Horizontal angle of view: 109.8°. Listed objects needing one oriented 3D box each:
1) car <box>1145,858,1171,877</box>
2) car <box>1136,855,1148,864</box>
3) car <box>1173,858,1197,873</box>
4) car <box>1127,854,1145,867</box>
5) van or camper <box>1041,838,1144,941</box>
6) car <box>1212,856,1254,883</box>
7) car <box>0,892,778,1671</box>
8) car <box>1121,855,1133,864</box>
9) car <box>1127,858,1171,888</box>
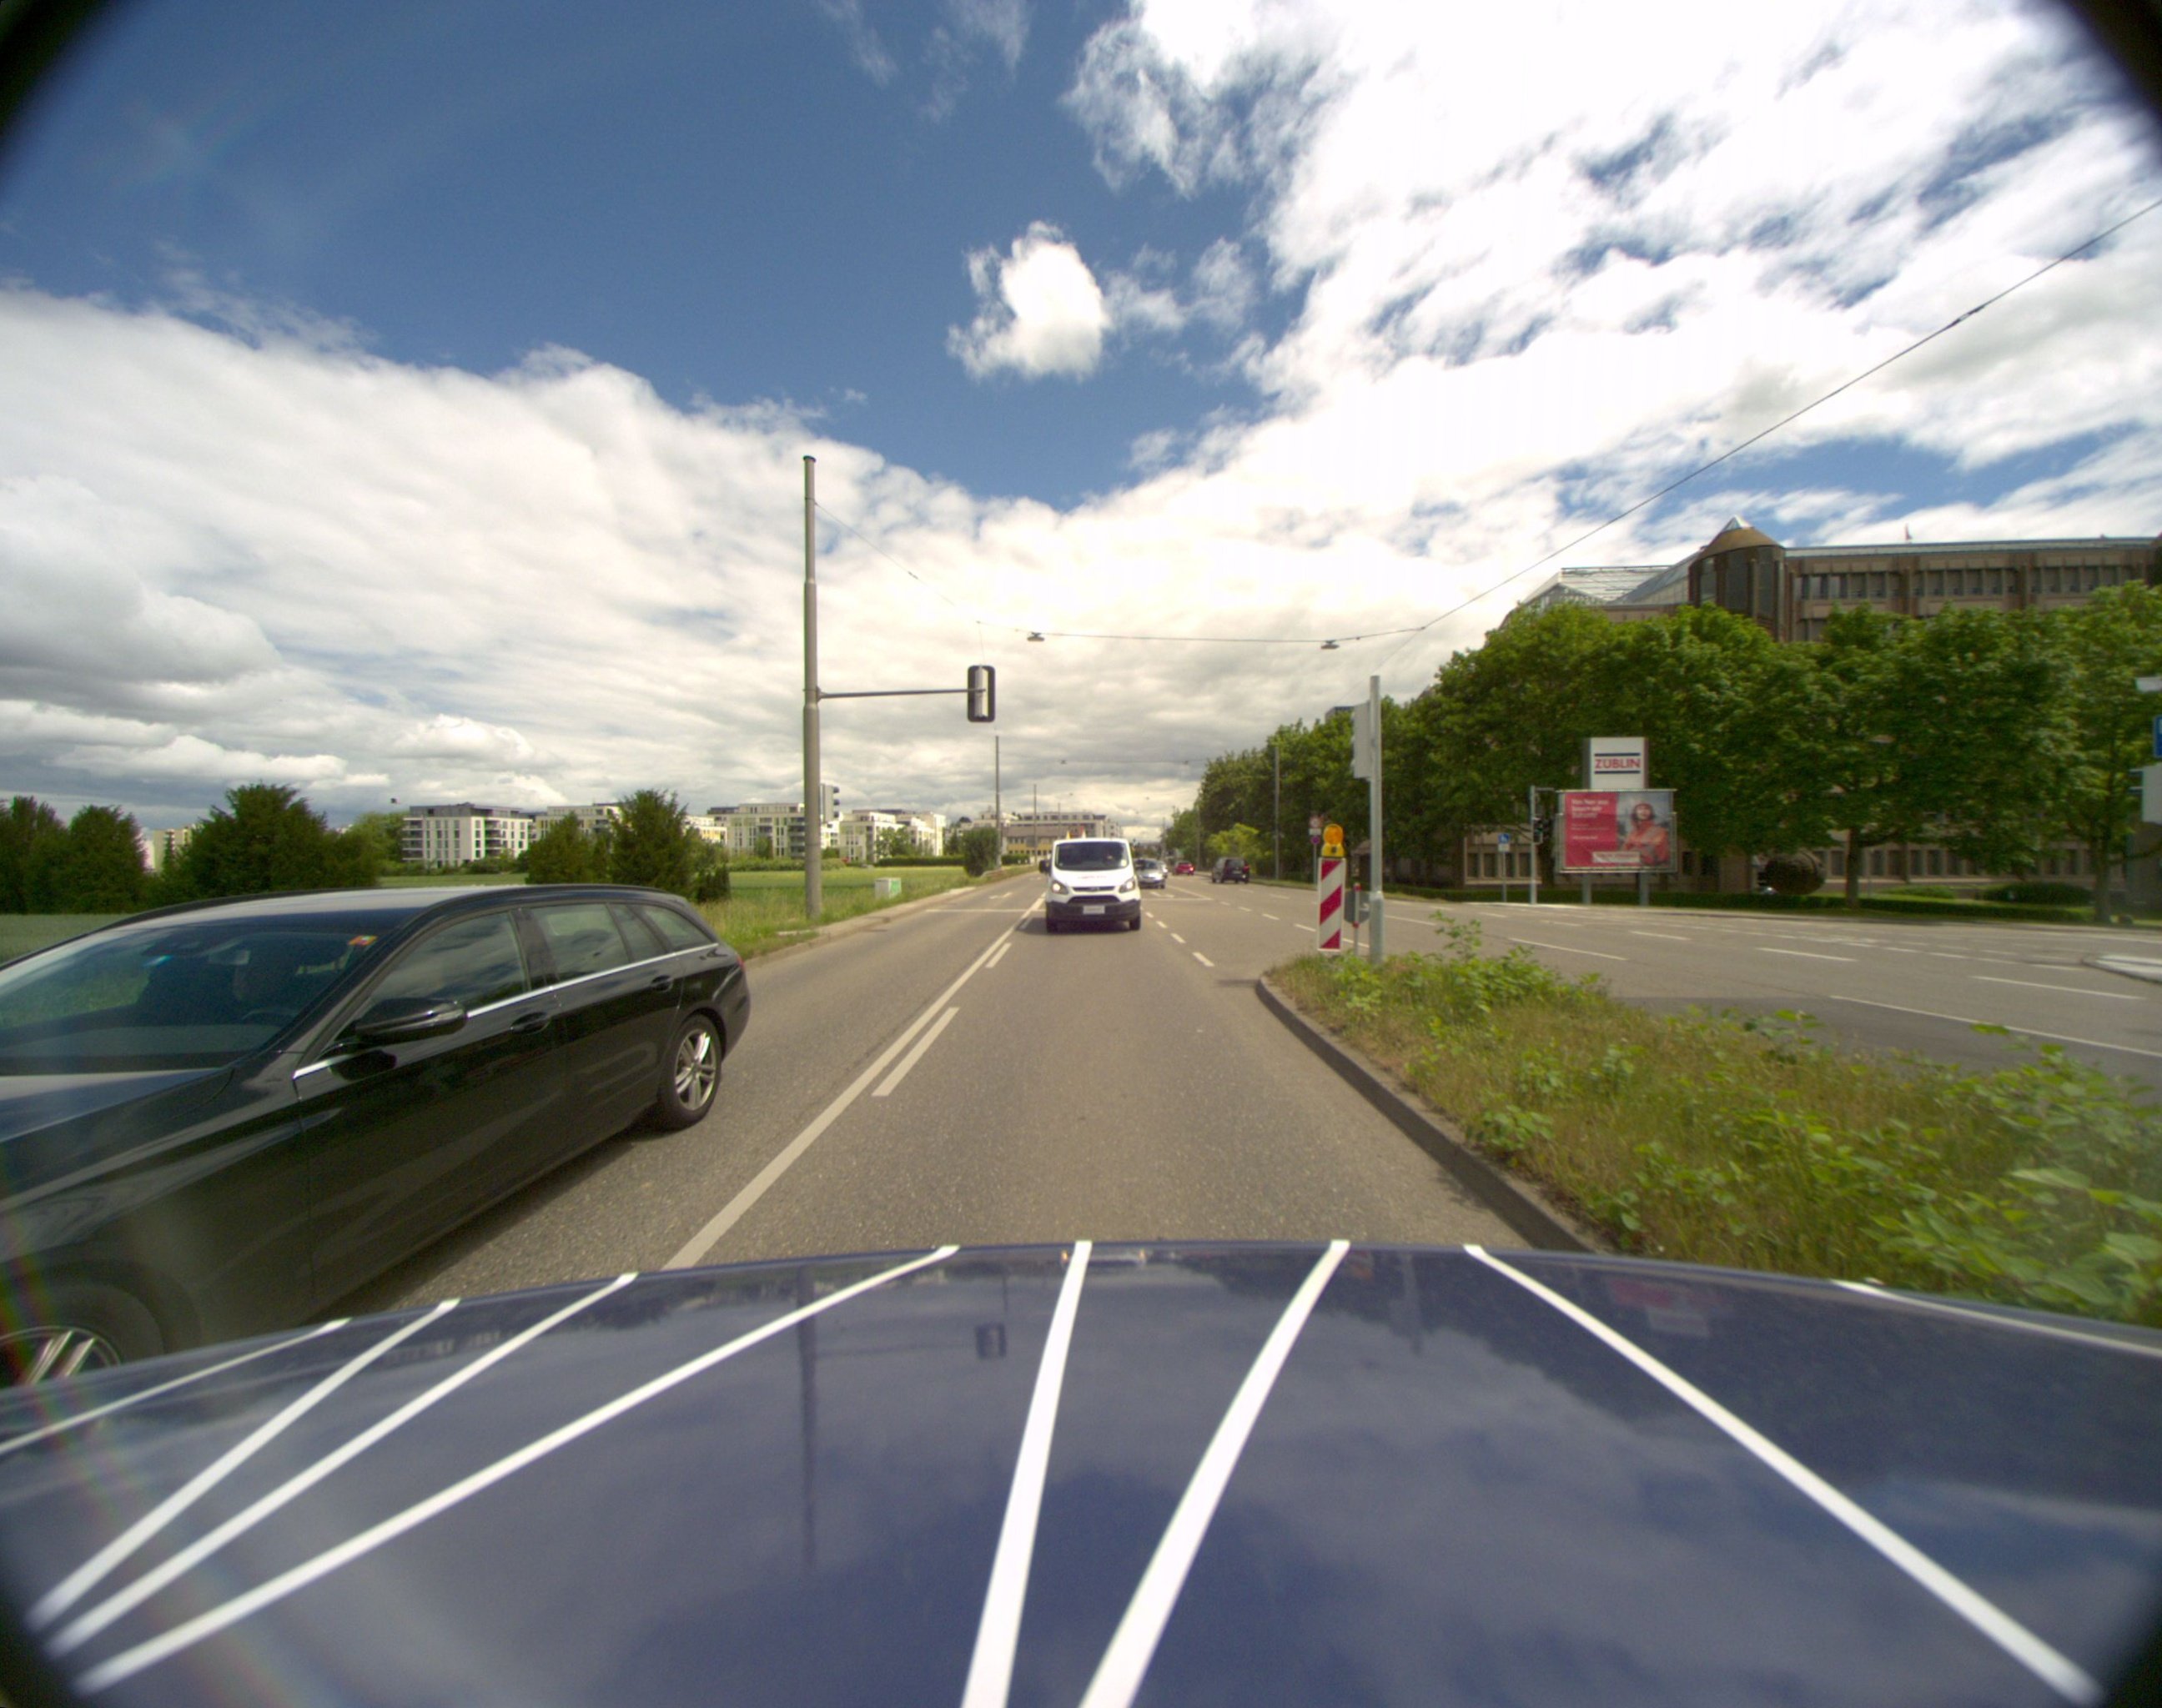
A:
[{"bbox_3d":[6.390,1.098,63.446,1.796,1.439,4.422,-1,0,0],"label":"car"},{"bbox_3d":[10.407,0.898,129.884,1.897,1.587,4.000,0,0,0],"label":"car"},{"bbox_3d":[10.142,1.114,74.191,1.784,1.407,3.999,0,0,0],"label":"car"},{"bbox_3d":[7.069,0.774,97.717,1.999,1.608,4.306,-1,0,0],"label":"car"},{"bbox_3d":[0.208,0.687,17.779,1.999,2.002,5.799,-1,0,0],"label":"van or camper"},{"bbox_3d":[10.058,0.961,50.628,1.998,1.692,4.761,-1,0,2],"label":"car"},{"bbox_3d":[-3.229,1.015,3.131,1.877,1.432,5.199,-1,0,0],"label":"car"},{"bbox_3d":[8.009,0.965,132.252,1.800,1.445,4.000,1,0,0],"label":"car"},{"bbox_3d":[3.415,0.940,38.747,1.894,1.433,4.000,-1,0,0],"label":"car"}]
